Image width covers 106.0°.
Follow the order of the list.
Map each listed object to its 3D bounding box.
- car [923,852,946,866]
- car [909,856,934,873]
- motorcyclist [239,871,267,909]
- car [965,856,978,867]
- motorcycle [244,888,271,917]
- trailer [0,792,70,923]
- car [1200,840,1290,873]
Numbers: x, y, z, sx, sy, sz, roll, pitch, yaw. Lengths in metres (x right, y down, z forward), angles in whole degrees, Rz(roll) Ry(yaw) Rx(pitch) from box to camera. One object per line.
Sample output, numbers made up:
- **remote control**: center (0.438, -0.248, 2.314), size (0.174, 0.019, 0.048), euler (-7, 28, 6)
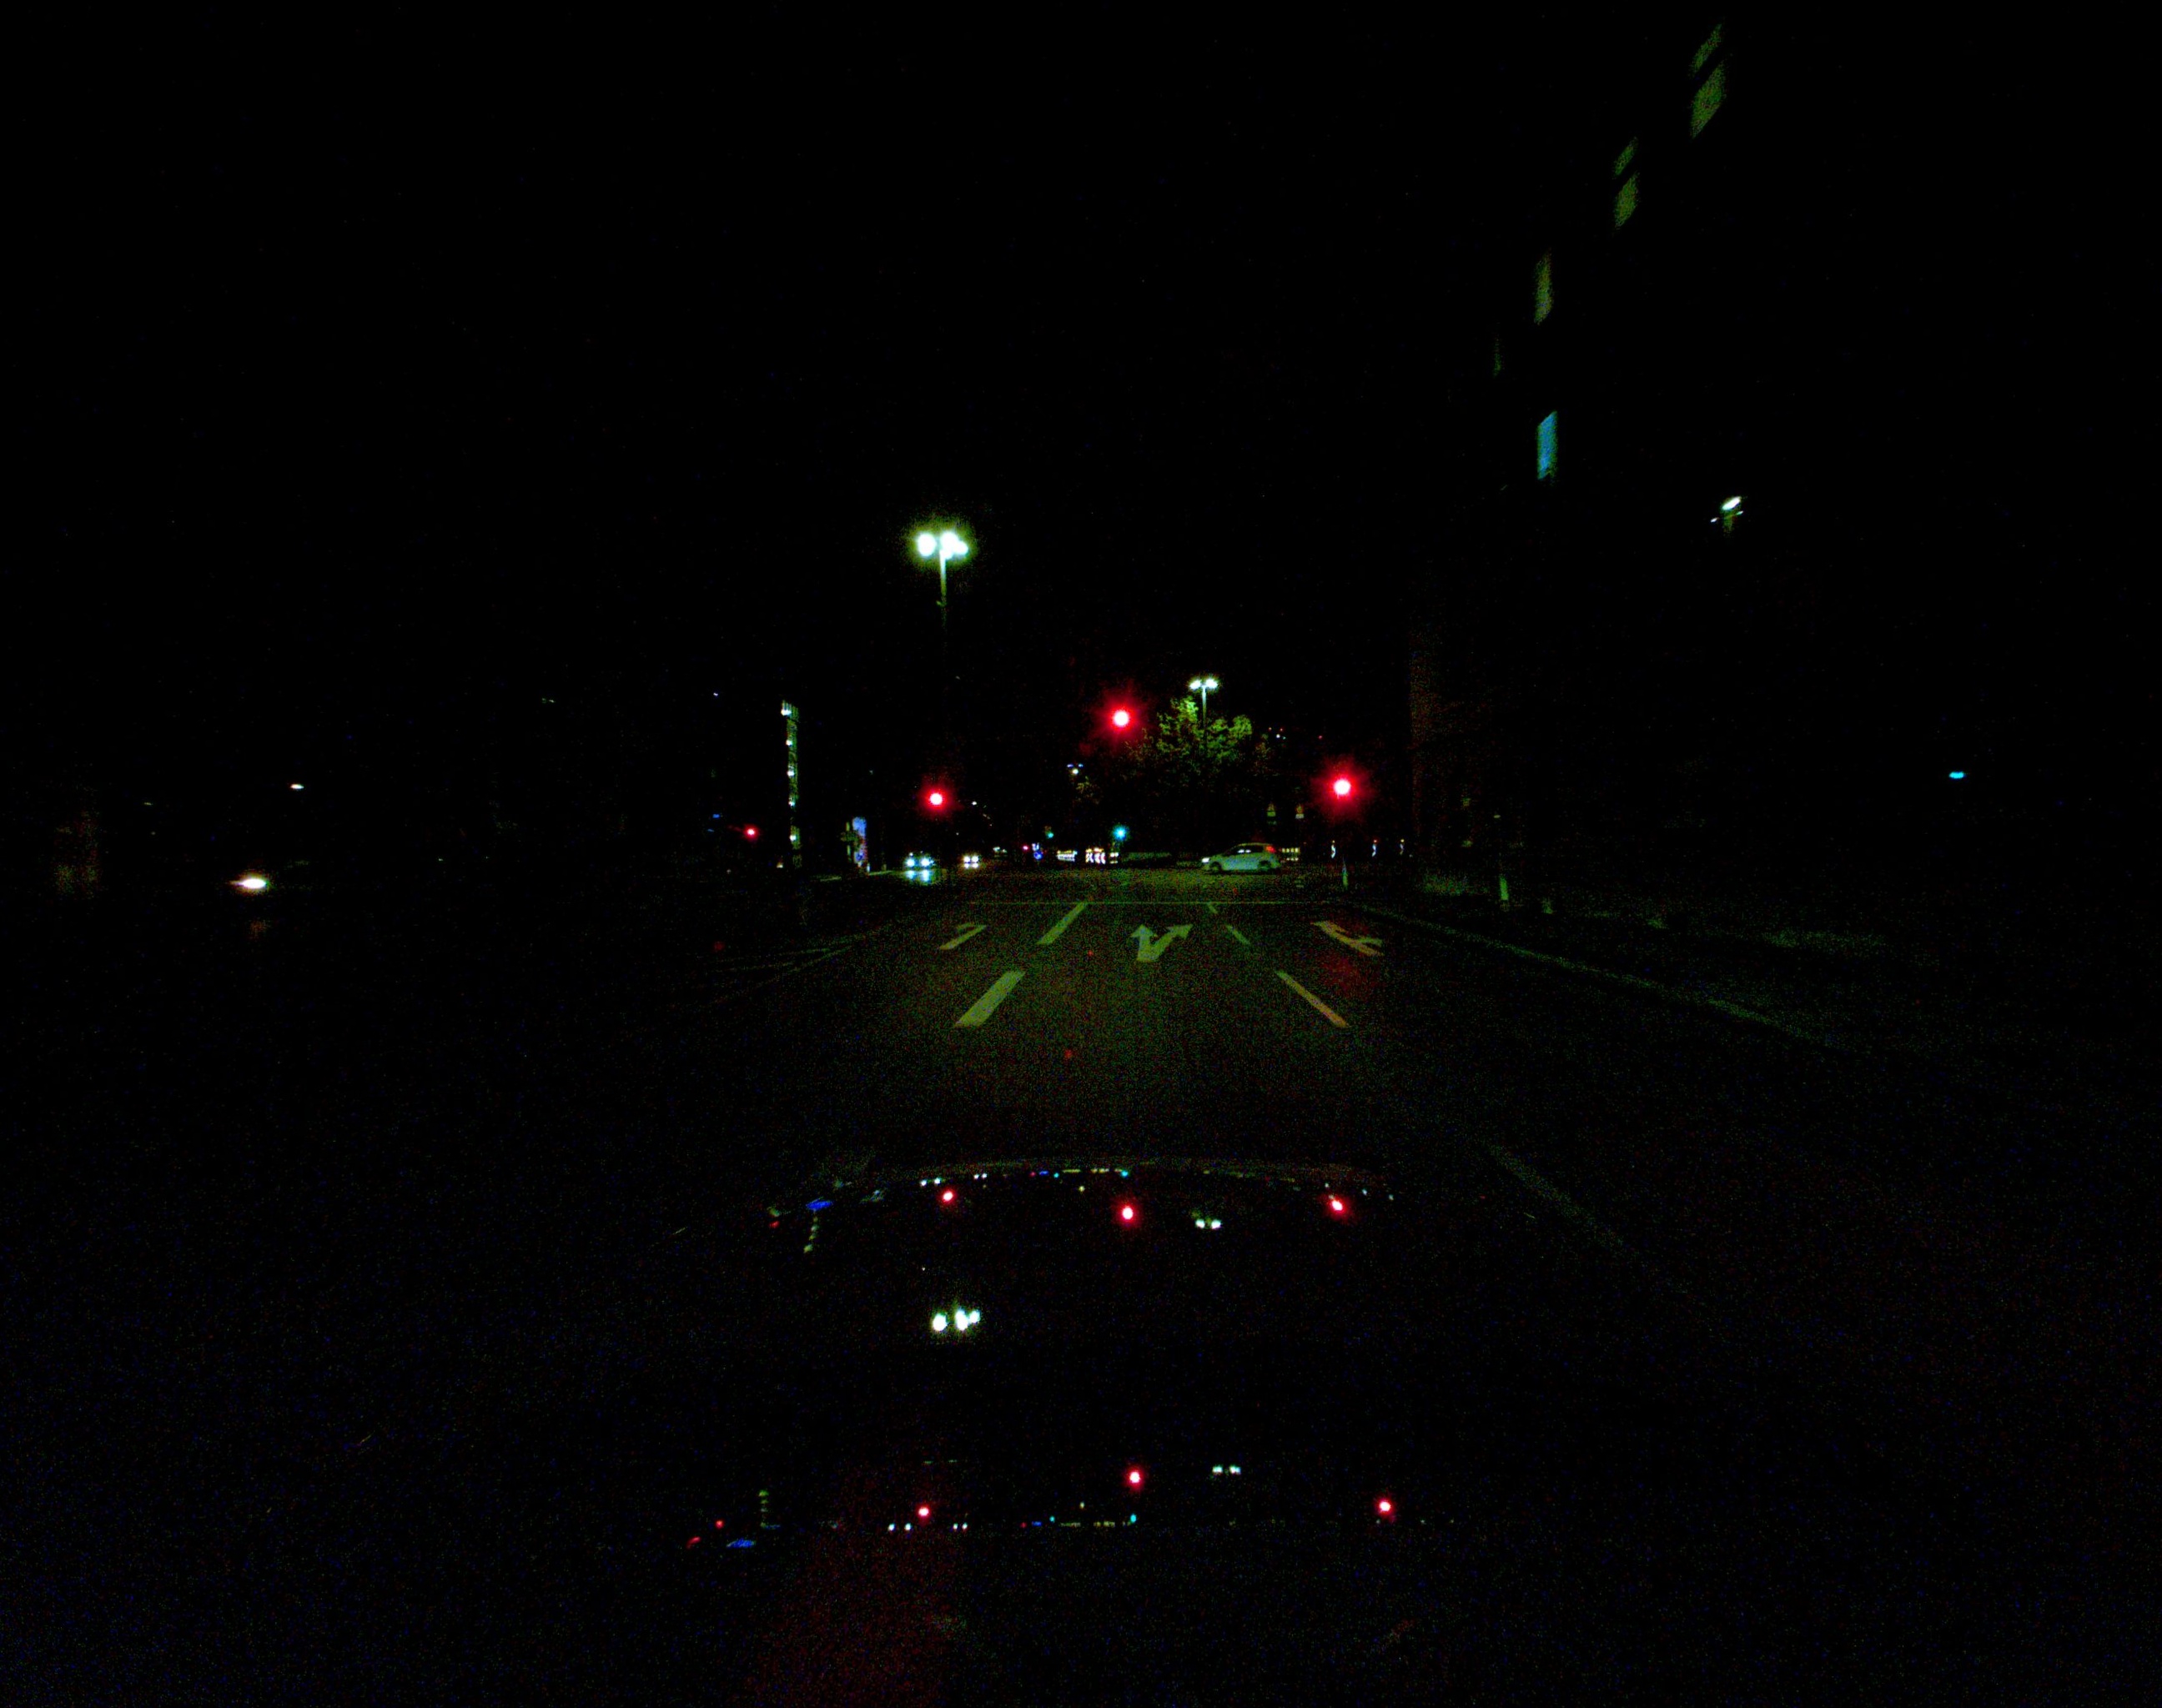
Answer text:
- **car**: center (-14.654, 0.543, 81.589), size (1.754, 1.322, 3.543), euler (-1, 0, -3)
- **car**: center (-14.479, 0.944, 74.202), size (1.612, 1.515, 3.996), euler (-1, 0, -3)
- **motorcyclist**: center (-28.173, 1.209, 27.709), size (0.572, 1.261, 0.652), euler (-2, -1, 44)
- **car**: center (-17.897, 1.180, 133.507), size (1.754, 1.728, 3.543), euler (-1, 0, -3)
- **motorcycle**: center (-28.180, 1.655, 27.860), size (2.128, 0.896, 0.583), euler (-2, 2, 44)
- **trailer**: center (-32.809, 0.129, 23.402), size (2.631, 3.791, 6.449), euler (-1, -1, -31)
- **car**: center (8.105, 0.148, 40.317), size (3.948, 1.491, 1.720), euler (-2, -1, 30)
